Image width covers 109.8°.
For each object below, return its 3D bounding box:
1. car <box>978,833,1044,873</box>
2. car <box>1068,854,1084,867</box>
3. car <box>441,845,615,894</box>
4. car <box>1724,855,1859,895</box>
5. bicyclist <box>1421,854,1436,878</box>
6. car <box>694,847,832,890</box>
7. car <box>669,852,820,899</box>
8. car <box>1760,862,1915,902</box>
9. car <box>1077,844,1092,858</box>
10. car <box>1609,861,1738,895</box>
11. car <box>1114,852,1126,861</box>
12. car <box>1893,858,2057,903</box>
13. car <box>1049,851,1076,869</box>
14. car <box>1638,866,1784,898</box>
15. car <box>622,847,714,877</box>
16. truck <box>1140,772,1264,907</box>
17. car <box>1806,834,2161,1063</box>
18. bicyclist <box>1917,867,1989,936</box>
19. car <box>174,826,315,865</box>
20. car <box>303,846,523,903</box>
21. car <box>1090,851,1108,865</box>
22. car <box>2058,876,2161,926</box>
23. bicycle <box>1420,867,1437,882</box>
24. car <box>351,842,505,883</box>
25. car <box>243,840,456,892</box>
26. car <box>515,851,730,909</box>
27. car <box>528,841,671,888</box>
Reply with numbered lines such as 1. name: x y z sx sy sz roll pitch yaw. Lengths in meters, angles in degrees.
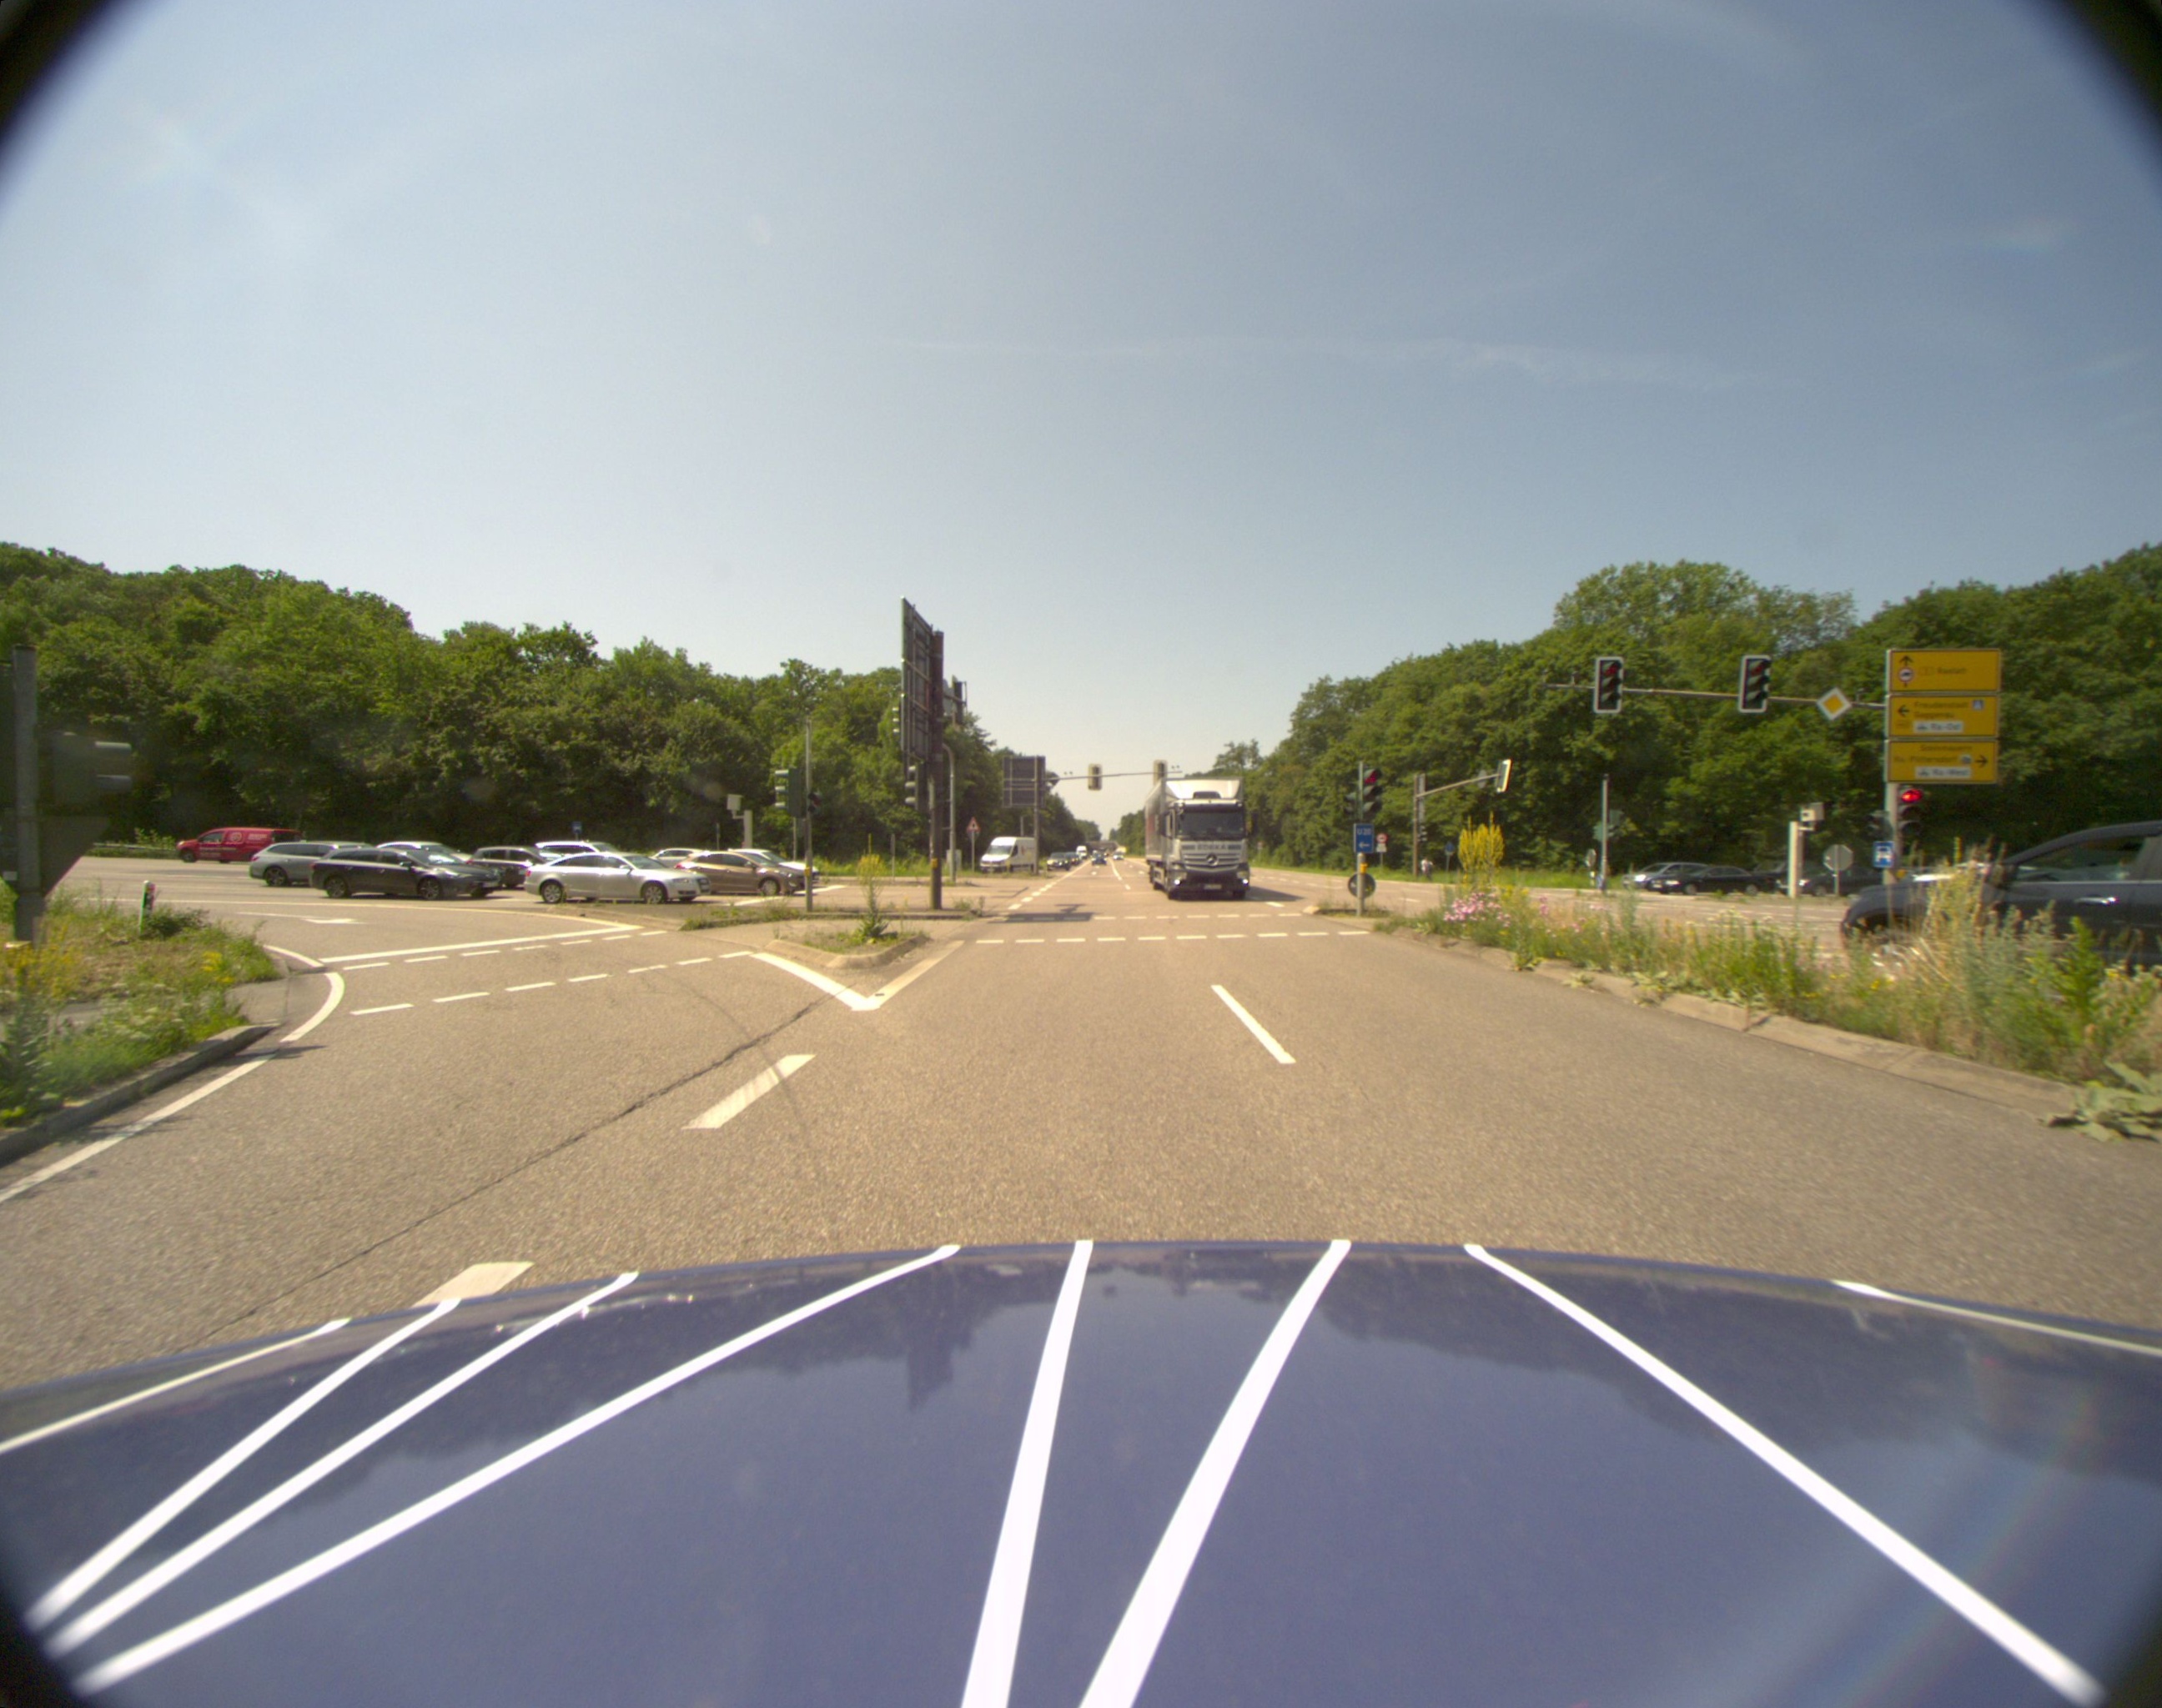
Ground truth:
1. car: -4.712 -0.068 52.546 1.971 2.629 6.069 -1 0 22
2. car: -0.526 0.684 86.198 1.796 1.431 4.228 0 0 0
3. car: -18.761 0.493 25.944 4.430 1.526 2.122 1 1 1
4. car: 35.768 1.032 38.340 4.816 1.887 2.000 1 1 1
5. bicyclist: 21.486 0.734 47.005 0.660 1.456 0.810 1 1 11
6. car: -12.076 0.536 29.089 4.430 1.526 2.000 1 1 0
7. car: -11.057 0.679 25.206 4.102 1.438 1.995 1 1 0
8. car: 34.260 1.234 34.546 4.815 1.626 2.001 1 1 5
9. car: 0.736 -0.633 151.367 2.673 2.685 6.331 1 0 3
10. car: 29.916 1.176 38.476 4.816 1.558 2.130 1 1 2
11. car: 6.987 0.450 137.019 1.998 1.543 4.000 1 0 1
12. car: 40.425 1.179 34.474 4.816 1.884 2.066 1 1 2
13. car: -1.580 0.484 65.627 1.795 1.452 4.230 -1 0 6
14. car: 28.635 1.238 34.657 4.816 1.283 2.106 1 0 2
15. car: -21.371 0.399 39.484 4.004 1.427 1.692 -2 0 -21
16. truck: 3.954 -0.452 27.758 2.753 3.862 11.320 -1 0 0
17. car: 8.885 0.717 5.623 1.998 1.668 5.366 2 0 2
18. bicyclist: 19.562 1.041 17.062 0.924 1.451 0.718 1 1 39
19. car: -40.614 -0.389 37.001 4.496 1.812 1.796 0 0 -8
20. car: -19.432 0.559 22.256 4.628 1.490 2.112 1 1 2
21. car: 2.073 0.497 89.579 1.992 1.575 4.364 0 0 0
22. car: 33.440 1.418 23.564 4.012 1.383 1.770 -1 0 0
23. bicycle: 21.475 1.259 46.967 0.566 0.918 1.606 1 0 11
24. car: -25.121 0.310 29.334 4.341 1.406 1.974 1 1 2
25. car: -24.305 0.363 25.396 5.141 1.525 2.138 1 1 2
26. car: -12.954 0.695 21.673 4.943 1.490 2.020 1 1 2
27. car: -18.296 0.381 28.997 4.182 1.649 2.000 1 1 2
